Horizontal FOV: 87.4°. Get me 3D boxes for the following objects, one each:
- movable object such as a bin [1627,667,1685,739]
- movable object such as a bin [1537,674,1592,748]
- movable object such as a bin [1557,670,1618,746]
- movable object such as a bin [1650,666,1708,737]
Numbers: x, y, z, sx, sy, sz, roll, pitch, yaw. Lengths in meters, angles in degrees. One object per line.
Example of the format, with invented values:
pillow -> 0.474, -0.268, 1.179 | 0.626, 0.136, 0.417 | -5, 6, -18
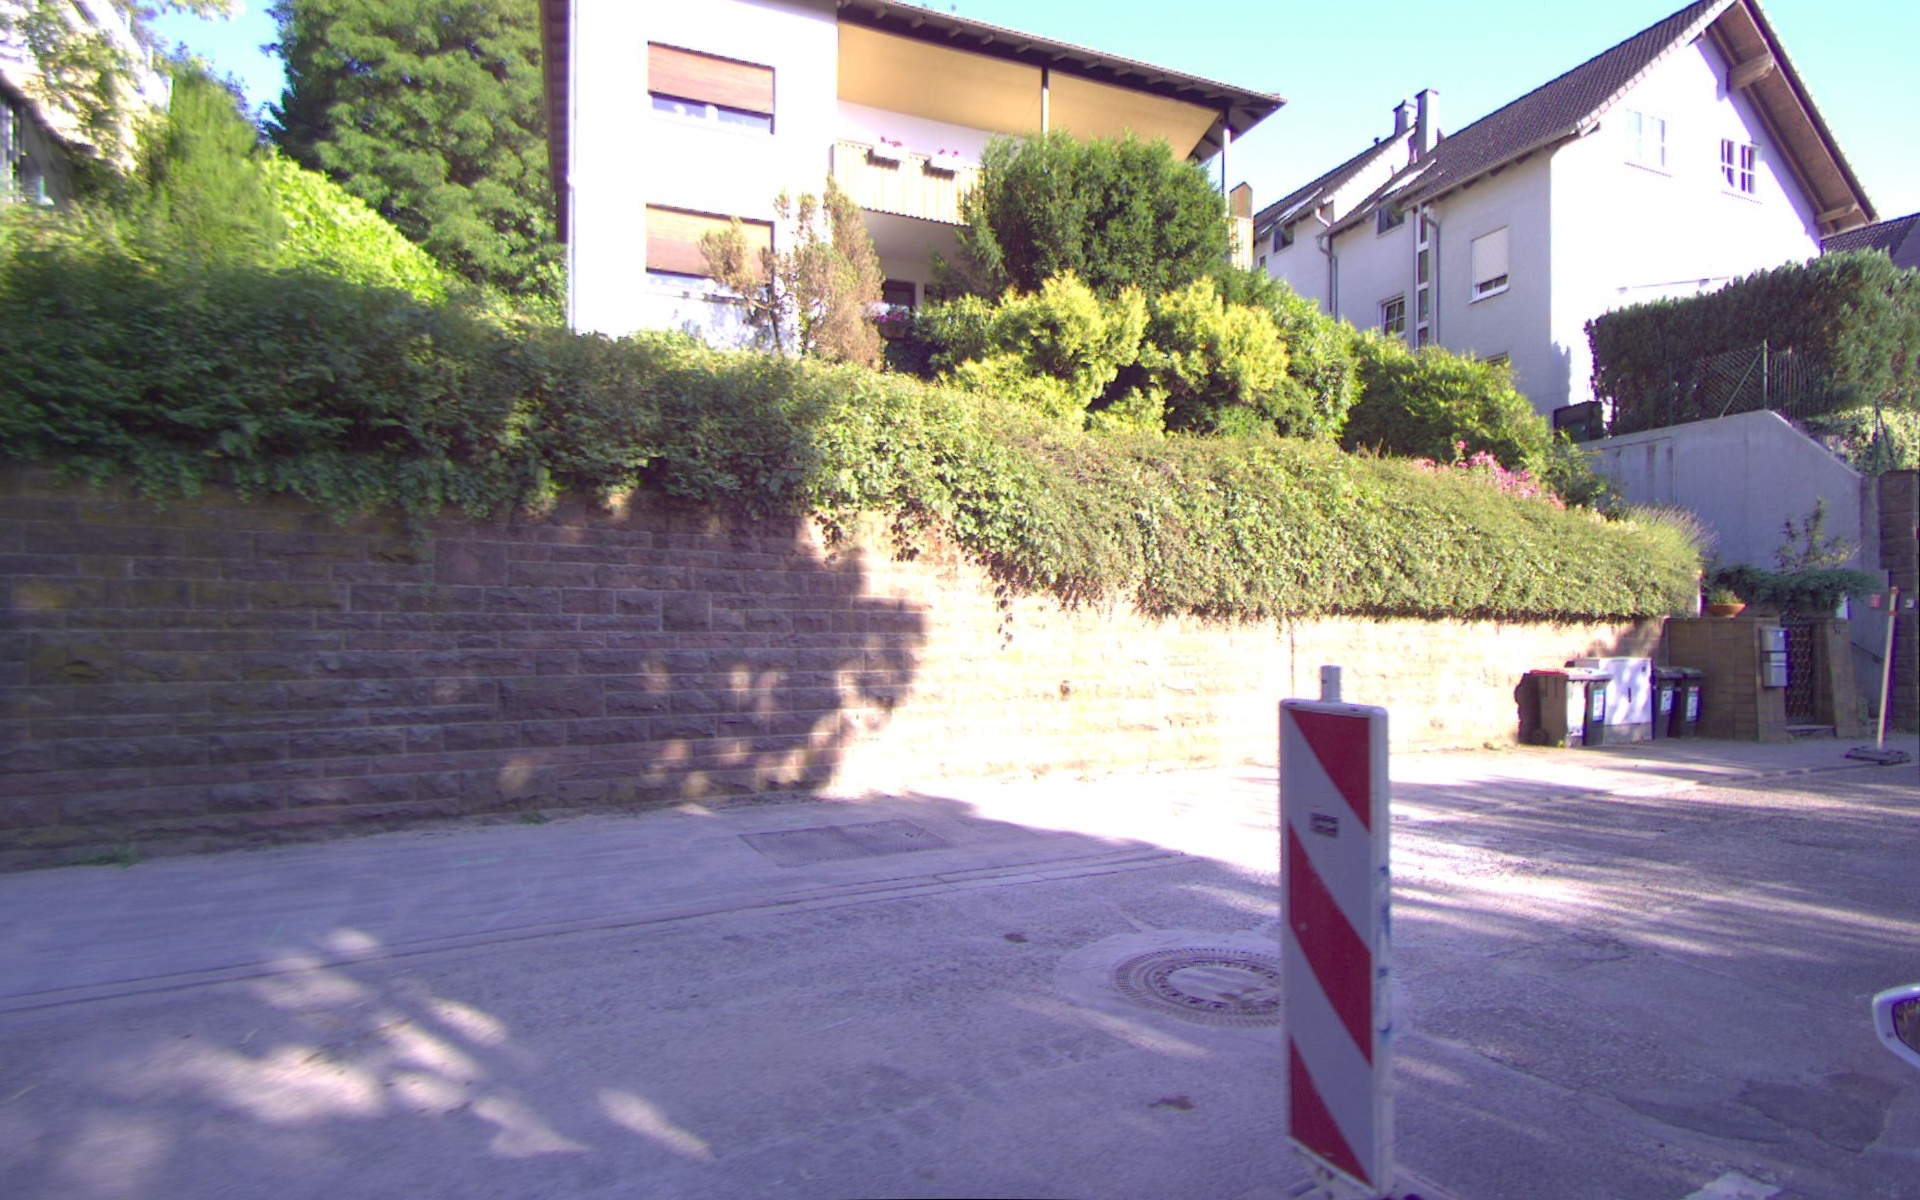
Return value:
movable object such as a bin -> 9.153, 1.345, 13.211 | 0.494, 0.895, 0.454 | 1, -1, -27
movable object such as a bin -> 7.383, 1.346, 12.274 | 0.387, 0.845, 0.452 | 1, -1, -27
movable object such as a bin -> 7.799, 1.332, 12.482 | 0.494, 0.895, 0.454 | 1, -1, -27
movable object such as a bin -> 9.616, 1.344, 13.444 | 0.494, 0.895, 0.454 | 1, -1, -27
